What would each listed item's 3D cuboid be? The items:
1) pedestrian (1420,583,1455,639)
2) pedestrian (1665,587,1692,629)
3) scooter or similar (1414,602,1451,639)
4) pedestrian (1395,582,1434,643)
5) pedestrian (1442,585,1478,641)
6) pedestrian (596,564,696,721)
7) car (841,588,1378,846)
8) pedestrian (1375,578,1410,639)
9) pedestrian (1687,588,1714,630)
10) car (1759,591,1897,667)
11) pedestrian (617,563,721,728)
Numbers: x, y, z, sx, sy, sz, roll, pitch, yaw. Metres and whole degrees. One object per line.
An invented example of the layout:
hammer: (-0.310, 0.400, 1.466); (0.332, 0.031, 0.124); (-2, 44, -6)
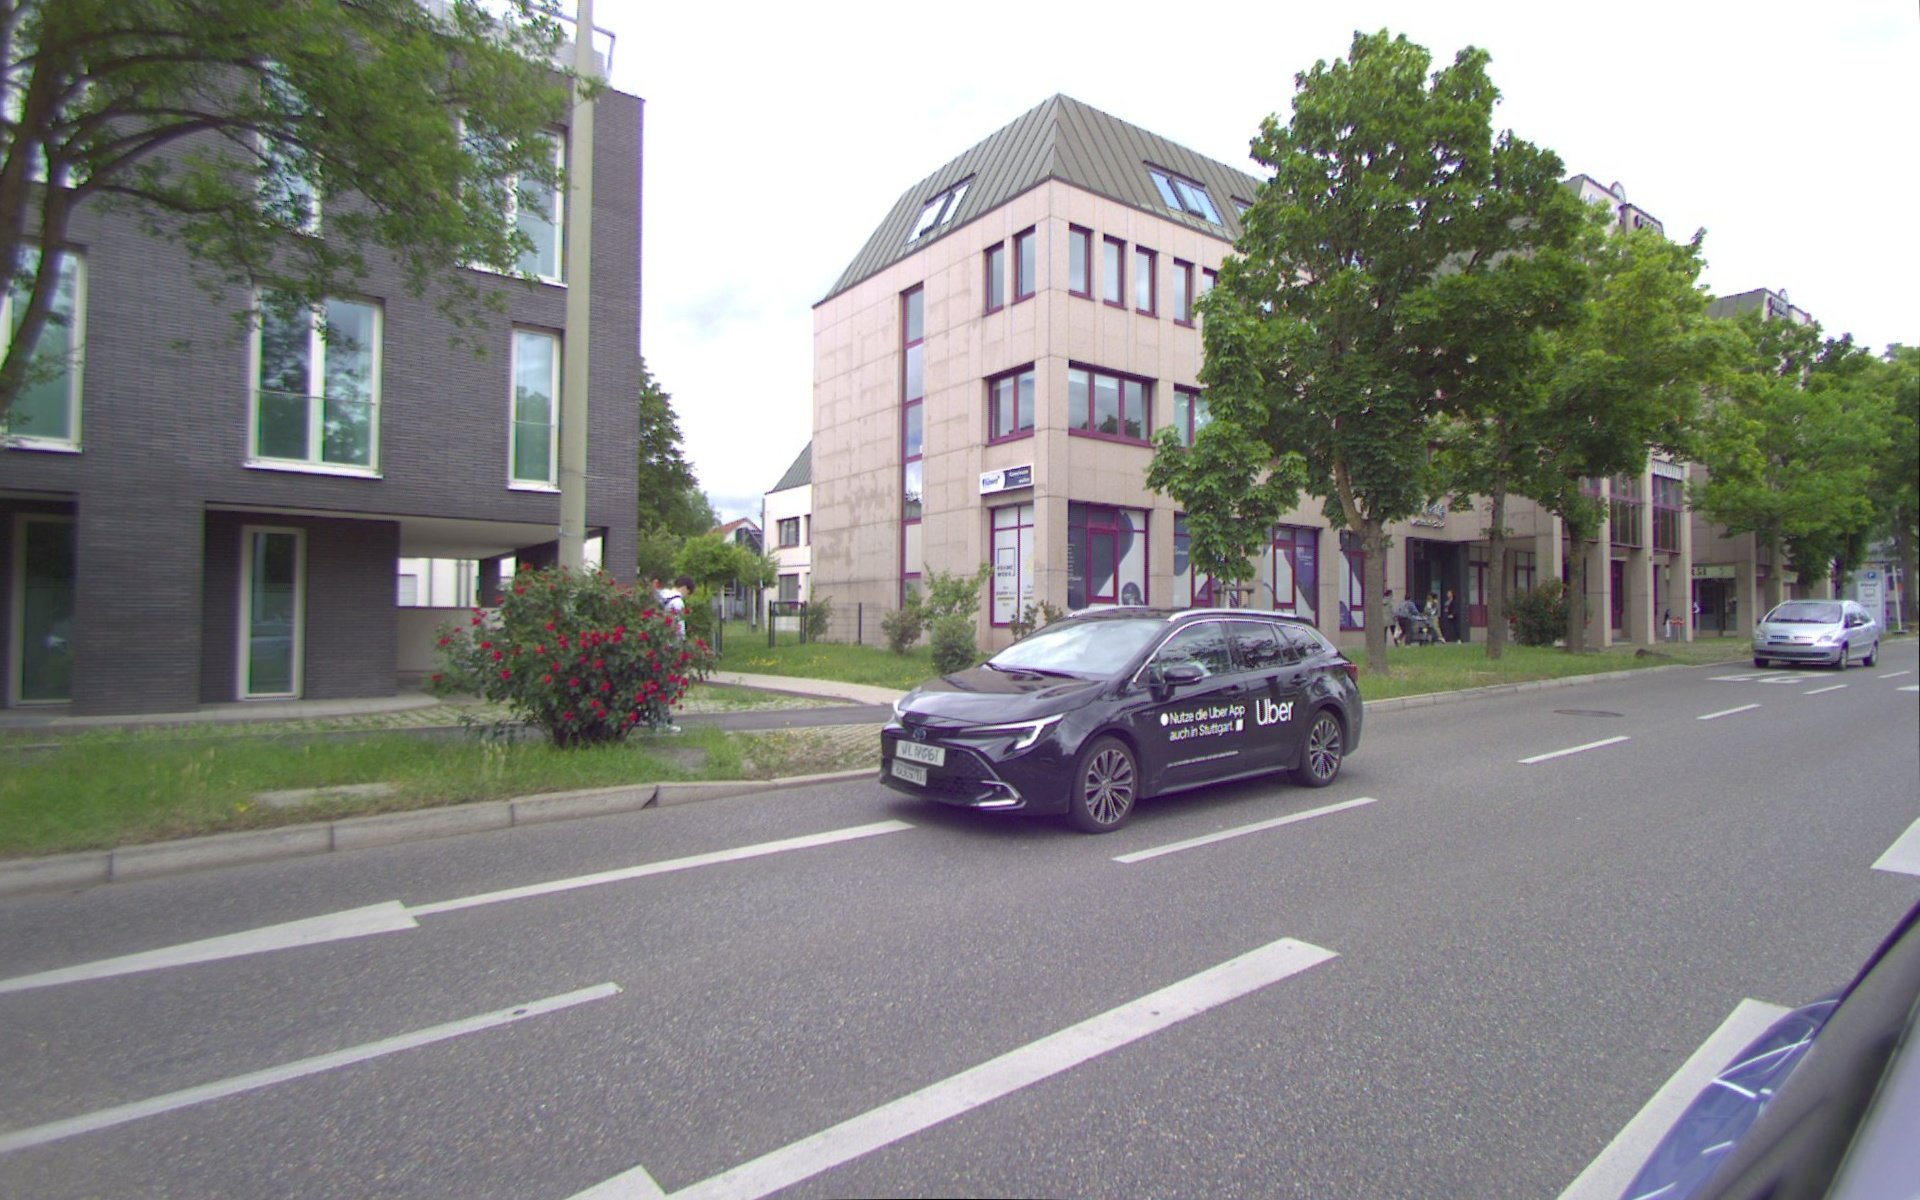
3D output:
pedestrian: (15.117, 0.341, 32.030); (0.951, 1.726, 0.597); (0, -1, -35)
pedestrian: (29.923, 0.332, 42.154); (0.827, 1.712, 0.659); (0, 1, -36)
scooter or similar: (13.410, 0.577, 28.717); (0.830, 1.006, 0.585); (0, 1, -34)
pedestrian: (12.673, 0.336, 28.204); (0.943, 1.673, 0.557); (0, 0, -34)
pedestrian: (15.569, 0.399, 31.496); (0.951, 1.726, 0.597); (0, -1, -35)
pedestrian: (-3.761, 0.508, 12.132); (0.936, 1.798, 0.609); (3, -3, -40)
car: (1.367, 0.657, 7.899); (4.343, 1.467, 1.767); (-1, 0, -41)
pedestrian: (12.370, 0.234, 28.940); (0.814, 1.721, 0.569); (0, -1, -36)
pedestrian: (30.431, 0.358, 41.565); (0.827, 1.712, 0.659); (0, 1, -36)
car: (20.658, 0.624, 24.034); (4.080, 1.656, 1.763); (0, 0, -39)
pedestrian: (-3.330, 0.514, 11.601); (0.936, 1.798, 0.609); (3, -3, -40)
